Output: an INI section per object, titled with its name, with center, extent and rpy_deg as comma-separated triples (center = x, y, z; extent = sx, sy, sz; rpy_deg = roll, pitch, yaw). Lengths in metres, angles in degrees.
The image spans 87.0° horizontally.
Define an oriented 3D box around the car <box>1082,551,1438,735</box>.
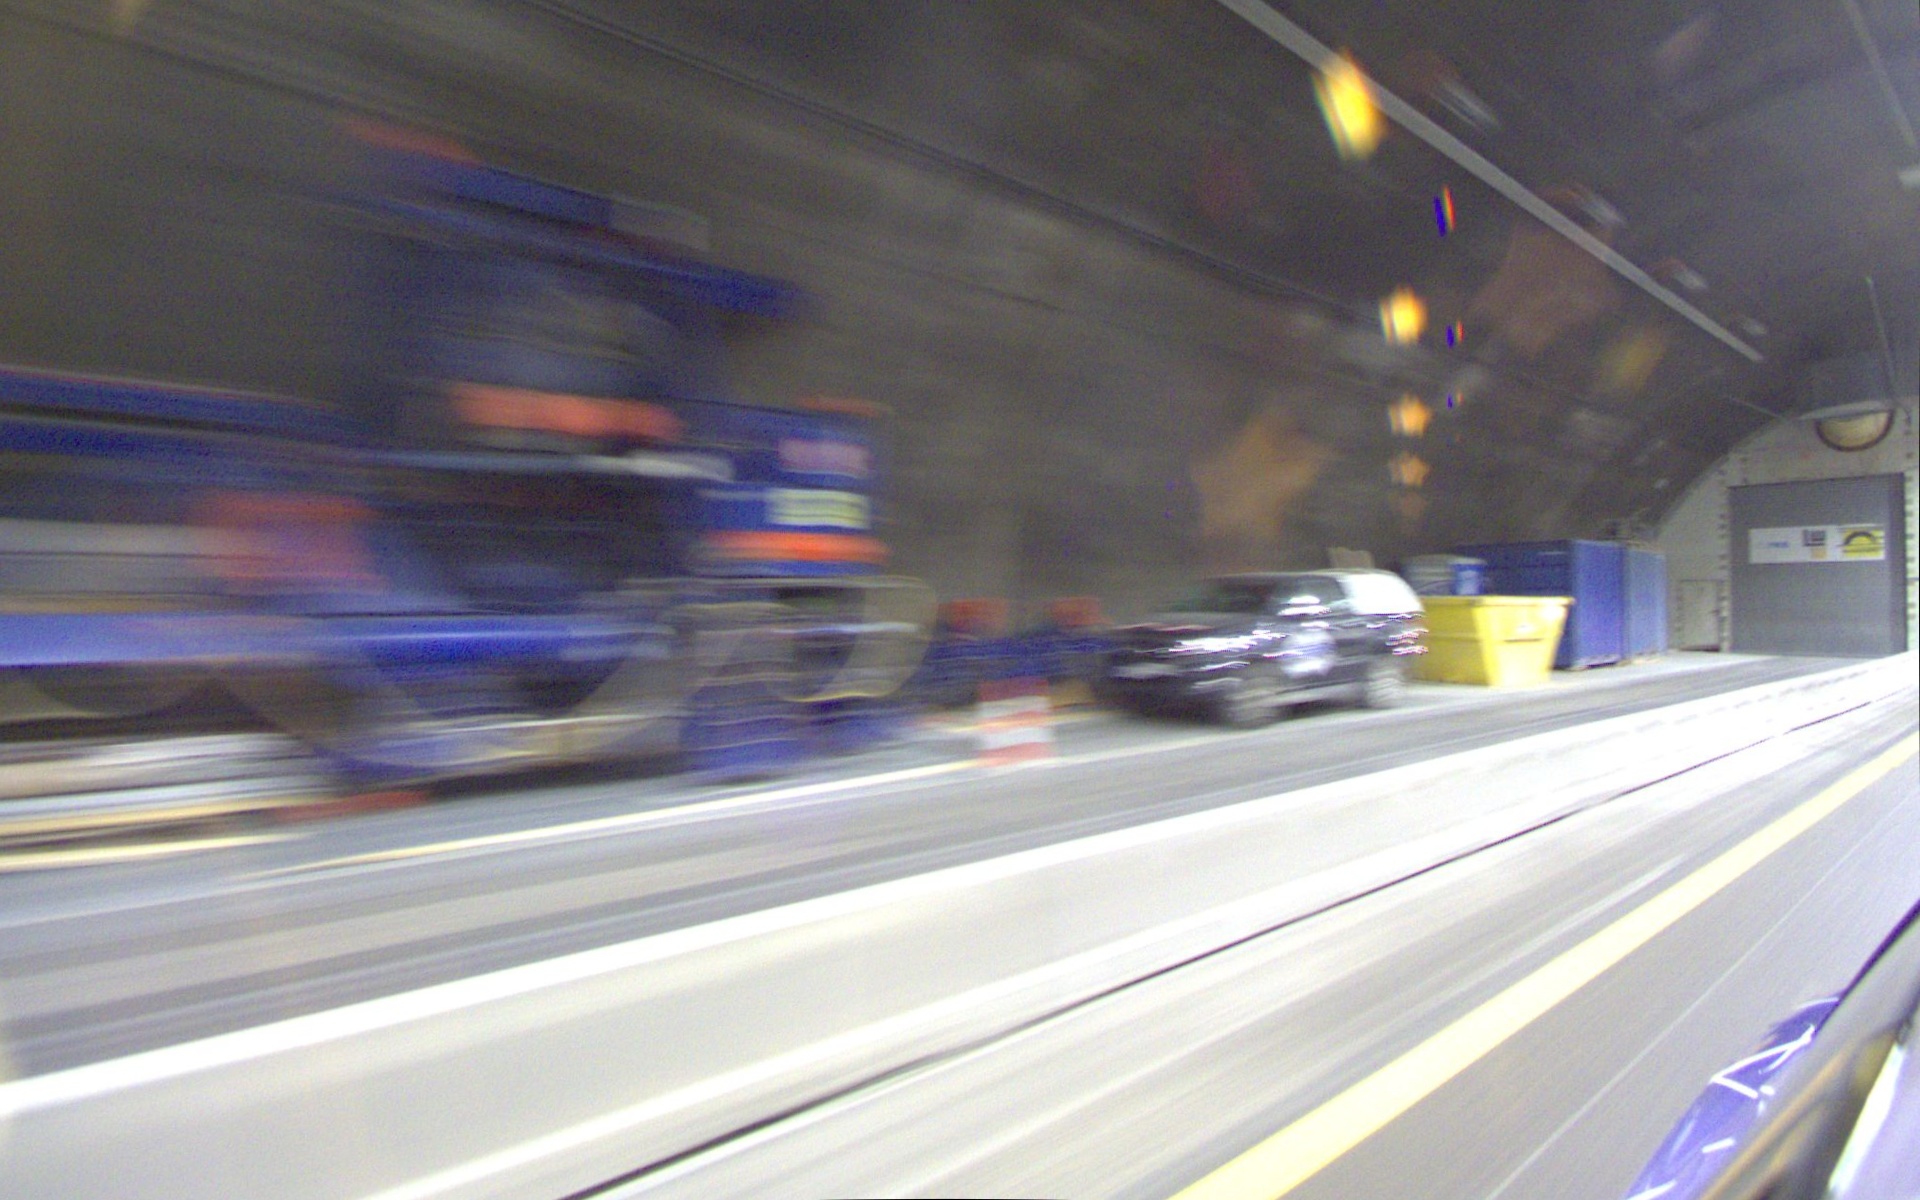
[car]
center = 3.999, 0.446, 12.840
extent = 5.348, 1.882, 1.830
rpy_deg = 0, -1, -42
